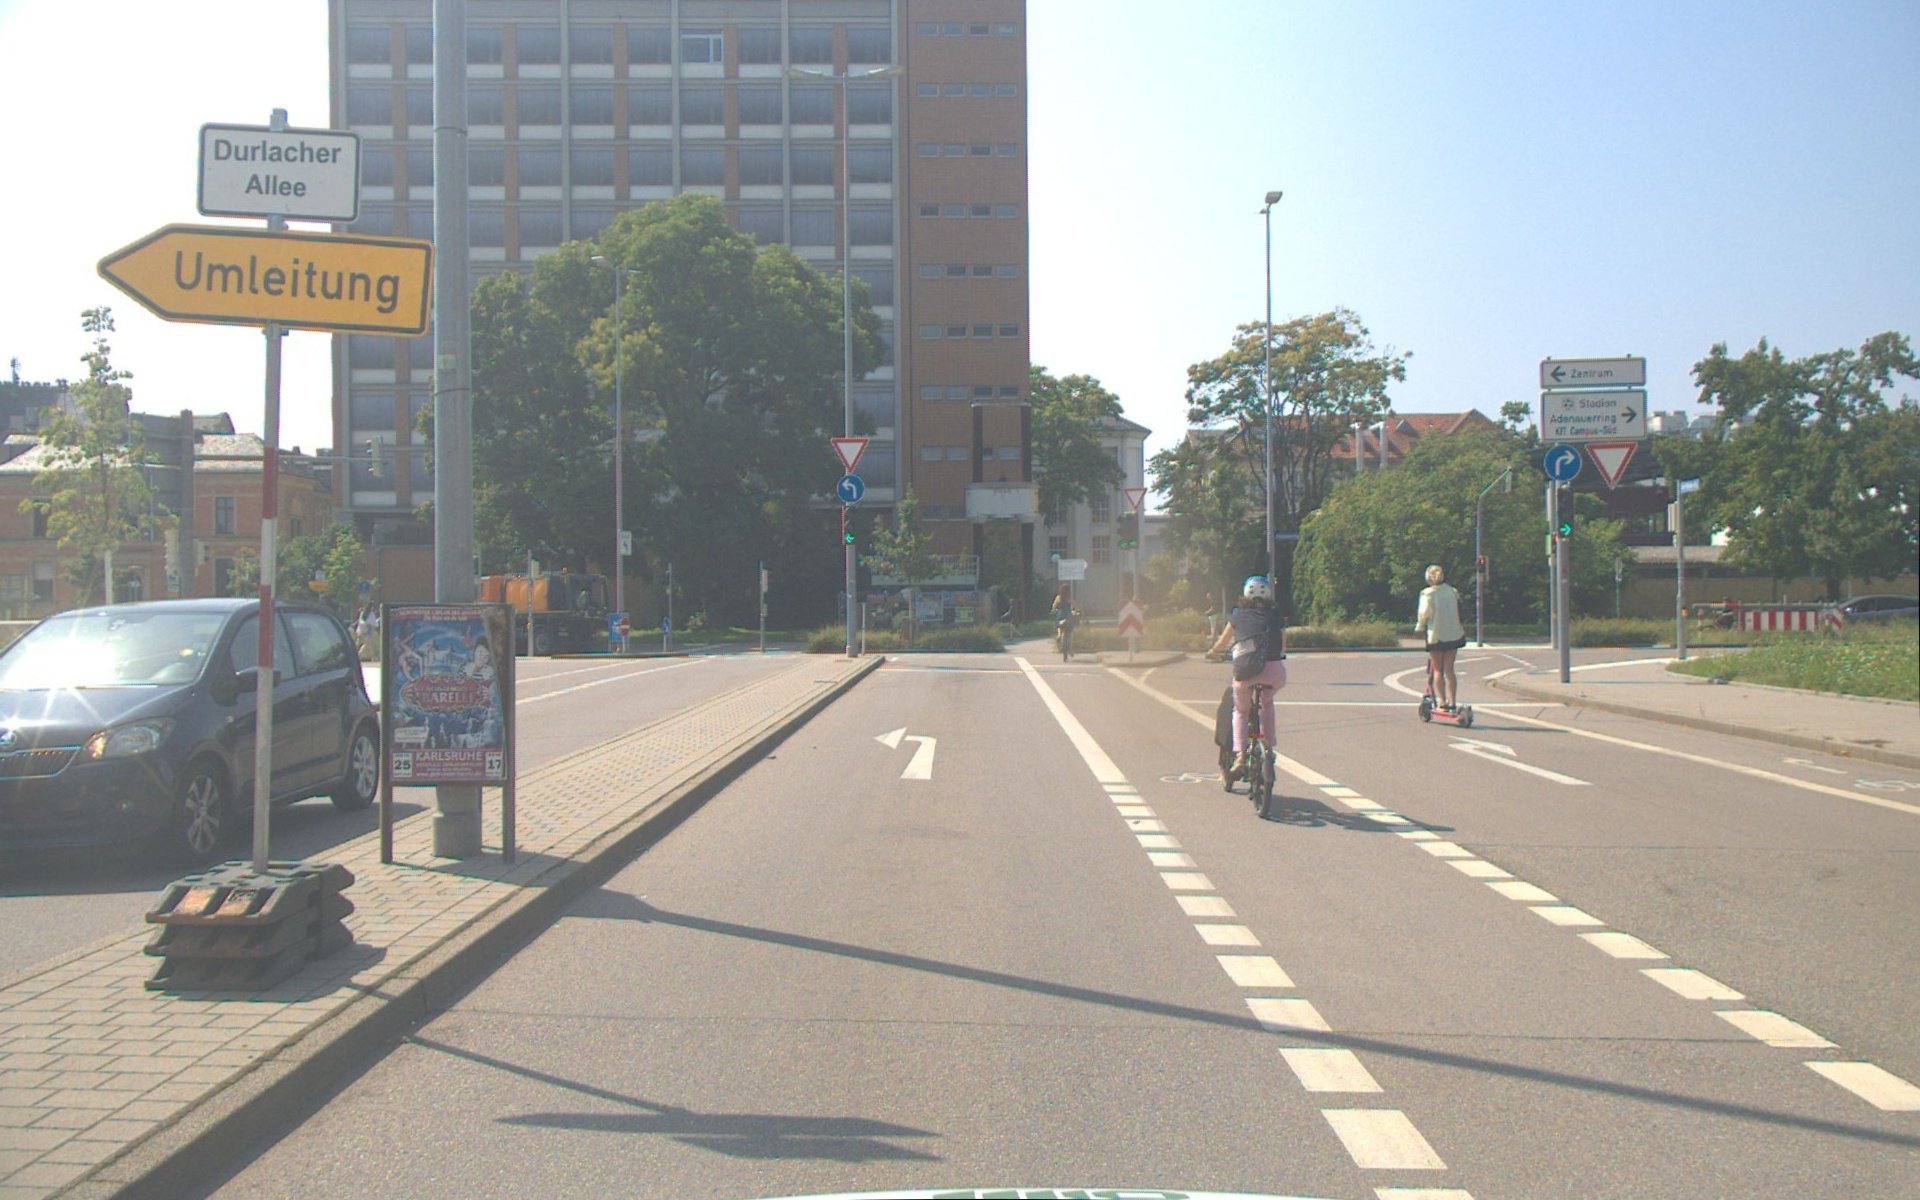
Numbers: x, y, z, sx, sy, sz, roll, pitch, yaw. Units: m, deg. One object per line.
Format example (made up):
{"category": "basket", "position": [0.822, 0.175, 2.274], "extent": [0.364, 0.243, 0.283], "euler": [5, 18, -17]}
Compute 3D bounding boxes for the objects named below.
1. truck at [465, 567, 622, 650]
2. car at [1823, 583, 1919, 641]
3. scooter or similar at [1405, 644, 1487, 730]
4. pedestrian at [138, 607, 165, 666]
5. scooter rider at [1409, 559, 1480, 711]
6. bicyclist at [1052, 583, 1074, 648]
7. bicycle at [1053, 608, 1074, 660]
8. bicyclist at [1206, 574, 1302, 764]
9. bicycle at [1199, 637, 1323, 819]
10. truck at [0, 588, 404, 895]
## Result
{"category": "truck", "position": [-15.977, 0.341, 63.328], "extent": [5.843, 3.042, 2.696], "euler": [-1, -1, 34]}
{"category": "car", "position": [27.340, 0.328, 47.704], "extent": [3.904, 1.592, 1.824], "euler": [-1, 0, 2]}
{"category": "scooter or similar", "position": [5.874, 1.029, 20.059], "extent": [0.755, 0.943, 1.622], "euler": [0, 0, 9]}
{"category": "pedestrian", "position": [-21.785, 0.974, 44.567], "extent": [0.410, 1.579, 0.528], "euler": [-1, 0, 44]}
{"category": "scooter rider", "position": [5.873, 0.422, 20.086], "extent": [0.745, 1.806, 0.555], "euler": [-1, 0, 9]}
{"category": "bicyclist", "position": [2.323, 0.354, 37.266], "extent": [0.440, 1.446, 0.496], "euler": [-1, 0, 4]}
{"category": "bicycle", "position": [2.317, 0.751, 37.089], "extent": [0.435, 1.136, 1.447], "euler": [-1, 0, 4]}
{"category": "bicyclist", "position": [2.156, 0.492, 12.174], "extent": [0.590, 1.358, 0.660], "euler": [-1, 0, 1]}
{"category": "bicycle", "position": [2.176, 0.888, 12.137], "extent": [0.591, 1.183, 1.811], "euler": [-1, 0, 1]}
{"category": "truck", "position": [-4.774, 0.709, 10.143], "extent": [1.523, 1.530, 3.620], "euler": [-1, 0, -1]}
